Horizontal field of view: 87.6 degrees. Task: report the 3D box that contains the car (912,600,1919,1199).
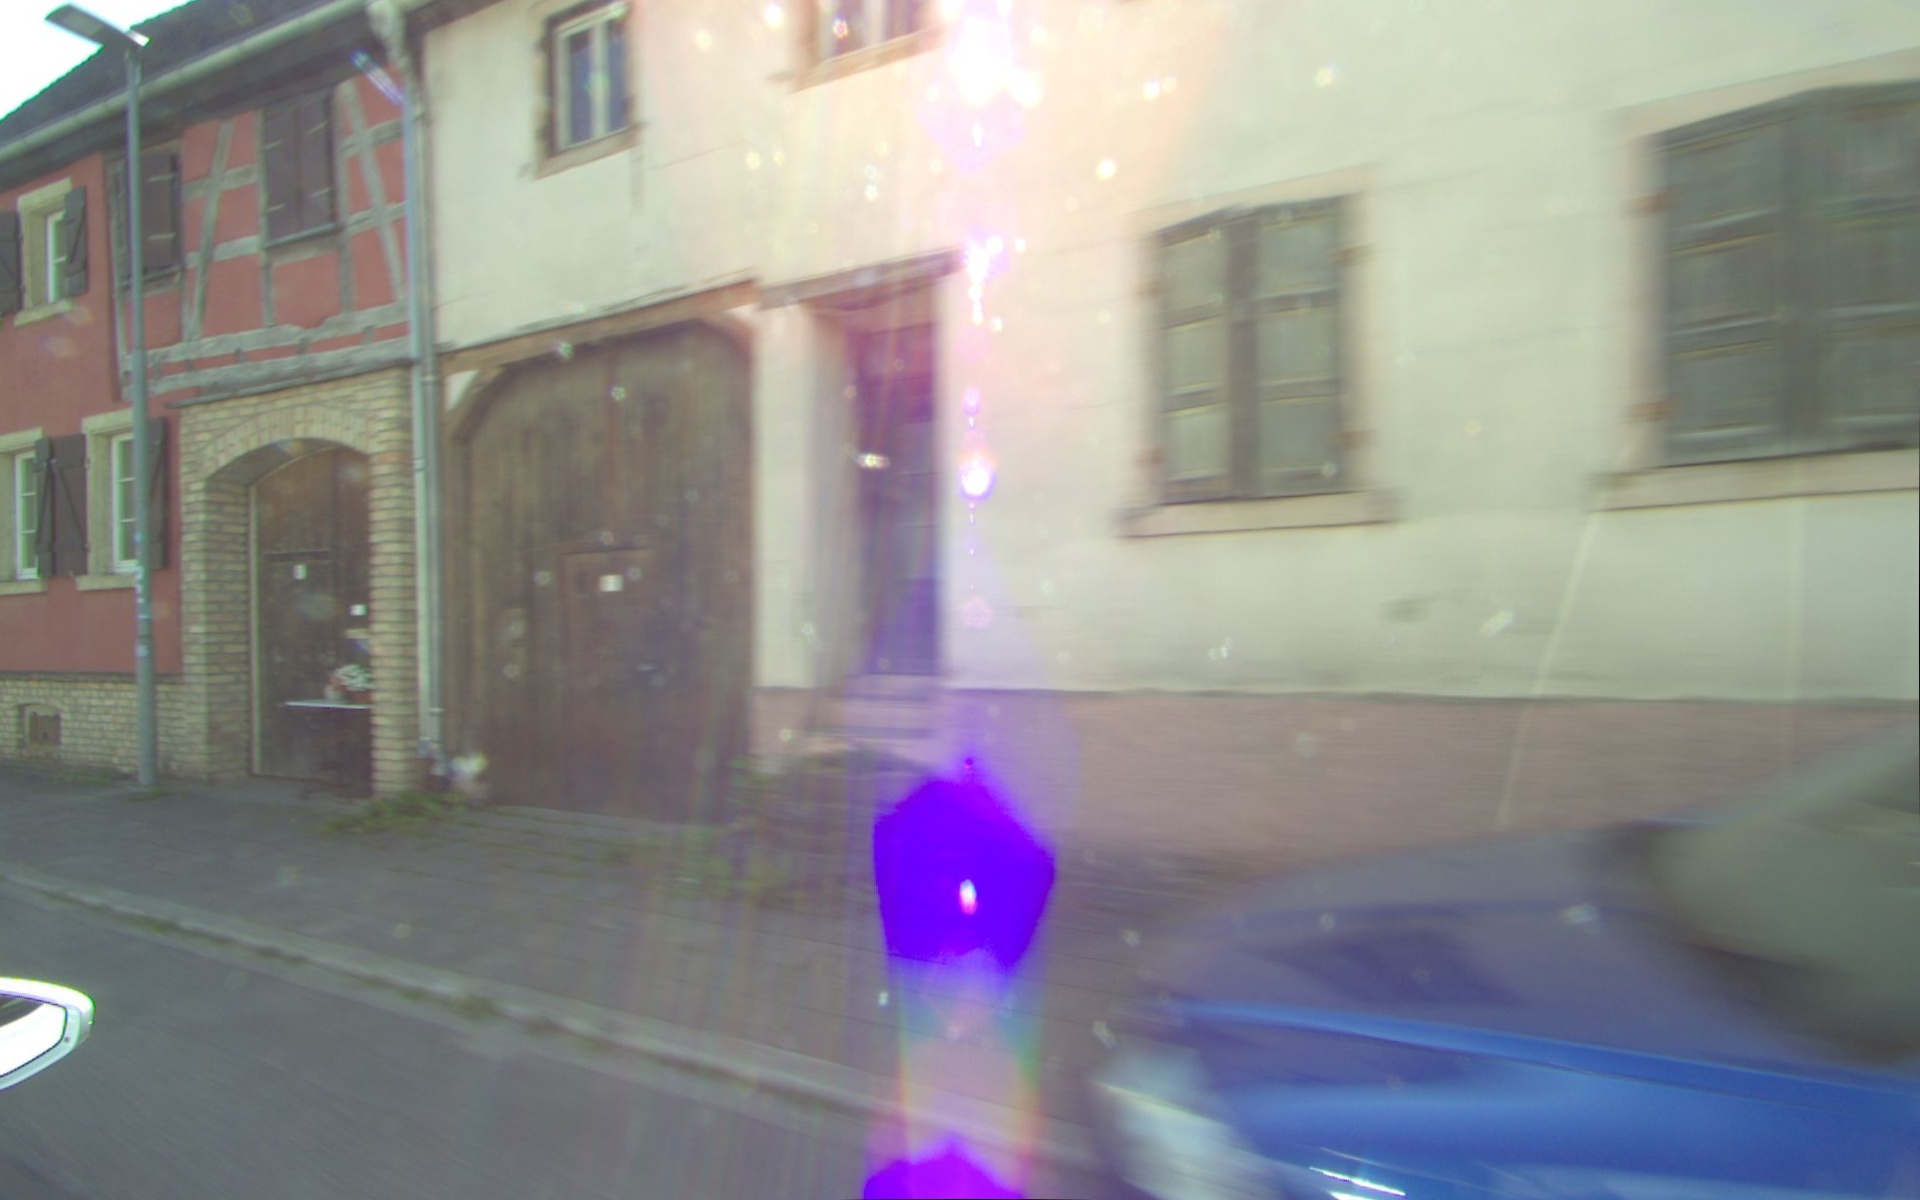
[{"bbox_3d":[2.244,0.741,1.396,4.340,1.489,1.698,-1,0,26],"label":"car"}]
